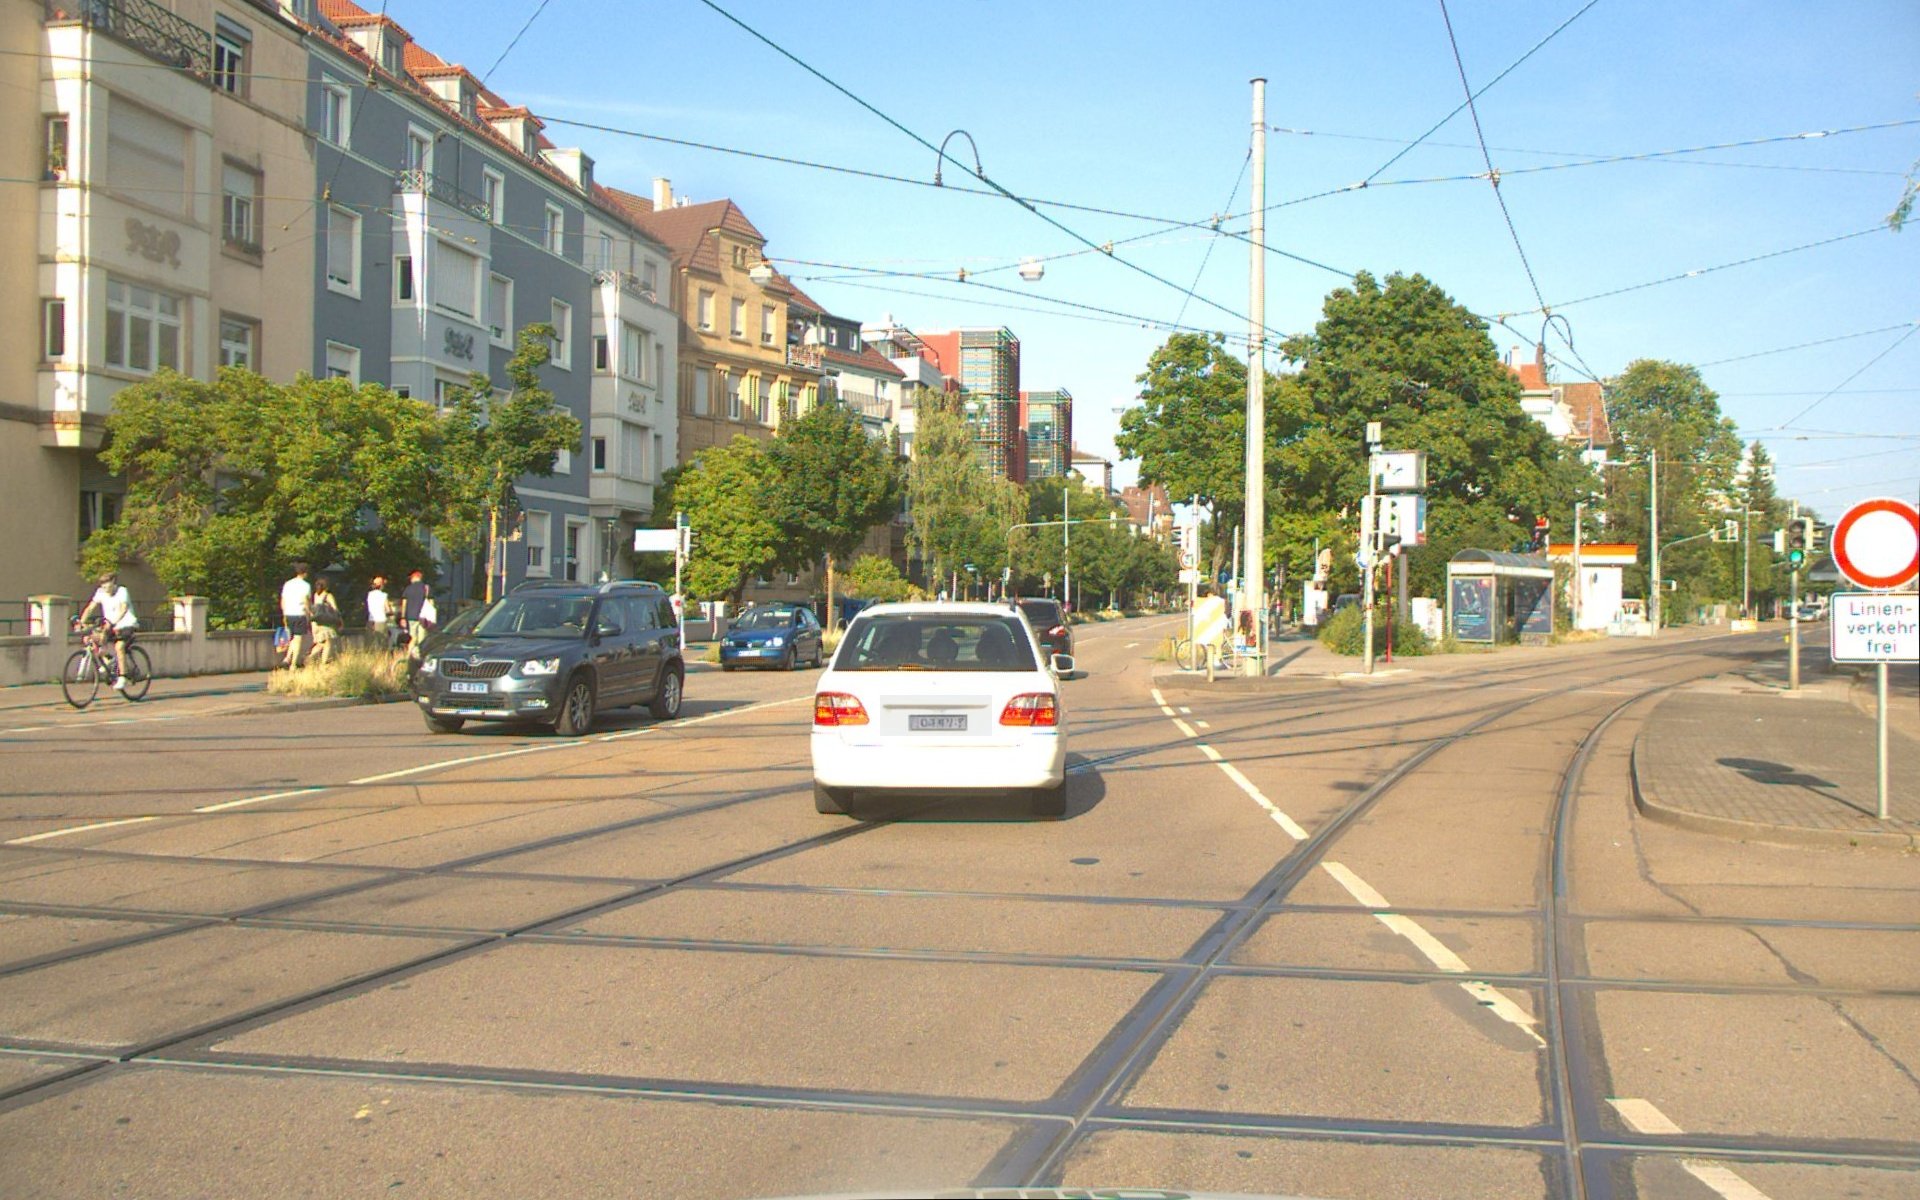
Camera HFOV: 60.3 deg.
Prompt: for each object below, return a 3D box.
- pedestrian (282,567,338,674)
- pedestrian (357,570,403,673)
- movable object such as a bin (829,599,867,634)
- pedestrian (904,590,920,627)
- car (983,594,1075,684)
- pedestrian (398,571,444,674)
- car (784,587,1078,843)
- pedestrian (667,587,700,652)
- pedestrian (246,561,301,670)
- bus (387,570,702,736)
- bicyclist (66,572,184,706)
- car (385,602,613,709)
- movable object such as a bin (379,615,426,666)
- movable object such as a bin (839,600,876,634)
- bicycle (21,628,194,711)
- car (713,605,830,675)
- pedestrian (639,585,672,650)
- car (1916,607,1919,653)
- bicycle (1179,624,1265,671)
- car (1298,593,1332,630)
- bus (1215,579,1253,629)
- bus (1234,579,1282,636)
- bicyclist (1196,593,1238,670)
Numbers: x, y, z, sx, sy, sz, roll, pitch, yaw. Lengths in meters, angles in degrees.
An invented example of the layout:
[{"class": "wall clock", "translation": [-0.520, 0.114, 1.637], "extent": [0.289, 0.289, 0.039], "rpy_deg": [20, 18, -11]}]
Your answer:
[{"class": "pedestrian", "translation": [-11.566, 0.361, 29.438], "extent": [0.660, 1.880, 0.650], "rpy_deg": [1, 0, 12]}, {"class": "pedestrian", "translation": [-10.973, 0.397, 31.319], "extent": [0.572, 1.914, 0.627], "rpy_deg": [1, 0, 9]}, {"class": "movable object such as a bin", "translation": [-4.734, 0.689, 69.996], "extent": [1.570, 1.446, 1.084], "rpy_deg": [1, 0, -2]}, {"class": "pedestrian", "translation": [-2.319, 0.419, 79.881], "extent": [0.625, 1.781, 0.608], "rpy_deg": [1, 0, 8]}, {"class": "car", "translation": [1.429, 0.737, 33.073], "extent": [1.607, 1.628, 3.817], "rpy_deg": [3, 0, 5]}, {"class": "pedestrian", "translation": [-10.177, 0.416, 31.250], "extent": [0.572, 1.914, 0.627], "rpy_deg": [1, 0, 10]}, {"class": "car", "translation": [-0.076, 0.726, 12.341], "extent": [1.797, 1.527, 3.816], "rpy_deg": [3, 0, 3]}, {"class": "pedestrian", "translation": [-7.640, 0.527, 45.739], "extent": [0.625, 1.781, 0.912], "rpy_deg": [1, 0, 8]}, {"class": "pedestrian", "translation": [-12.236, 0.269, 29.492], "extent": [0.644, 1.914, 0.627], "rpy_deg": [1, 0, 9]}, {"class": "bus", "translation": [-4.604, 0.539, 19.029], "extent": [1.805, 1.665, 4.162], "rpy_deg": [1, 0, 13]}, {"class": "bicyclist", "translation": [-10.953, 0.501, 21.725], "extent": [0.744, 1.697, 1.167], "rpy_deg": [1, 0, 20]}, {"class": "car", "translation": [-6.777, 0.793, 24.776], "extent": [1.652, 1.445, 4.003], "rpy_deg": [1, -1, 11]}, {"class": "movable object such as a bin", "translation": [-10.809, 0.771, 32.081], "extent": [0.570, 0.963, 0.663], "rpy_deg": [1, 0, 15]}, {"class": "movable object such as a bin", "translation": [-4.407, 0.718, 71.181], "extent": [1.503, 1.446, 1.084], "rpy_deg": [1, 0, -2]}, {"class": "bicycle", "translation": [-11.048, 0.876, 21.518], "extent": [0.753, 0.982, 2.034], "rpy_deg": [1, 0, 20]}, {"class": "car", "translation": [-4.264, 0.868, 38.026], "extent": [1.653, 1.466, 4.003], "rpy_deg": [1, 0, 9]}, {"class": "pedestrian", "translation": [-8.431, 0.481, 45.795], "extent": [0.625, 1.781, 0.912], "rpy_deg": [1, 0, 8]}, {"class": "car", "translation": [35.121, 1.126, 58.852], "extent": [1.802, 1.628, 3.806], "rpy_deg": [2, 0, 31]}, {"class": "bicycle", "translation": [5.895, 1.068, 37.290], "extent": [1.873, 1.012, 0.727], "rpy_deg": [-1, 0, 5]}, {"class": "car", "translation": [19.046, 0.629, 88.736], "extent": [1.708, 1.906, 4.003], "rpy_deg": [1, 0, 12]}, {"class": "bus", "translation": [15.248, 0.259, 92.250], "extent": [1.760, 2.599, 4.003], "rpy_deg": [3, -1, 7]}, {"class": "bus", "translation": [13.787, 0.363, 76.680], "extent": [1.760, 2.455, 4.002], "rpy_deg": [3, -1, 6]}, {"class": "bicyclist", "translation": [5.792, 0.705, 37.296], "extent": [0.880, 1.728, 0.733], "rpy_deg": [0, 0, 5]}]
